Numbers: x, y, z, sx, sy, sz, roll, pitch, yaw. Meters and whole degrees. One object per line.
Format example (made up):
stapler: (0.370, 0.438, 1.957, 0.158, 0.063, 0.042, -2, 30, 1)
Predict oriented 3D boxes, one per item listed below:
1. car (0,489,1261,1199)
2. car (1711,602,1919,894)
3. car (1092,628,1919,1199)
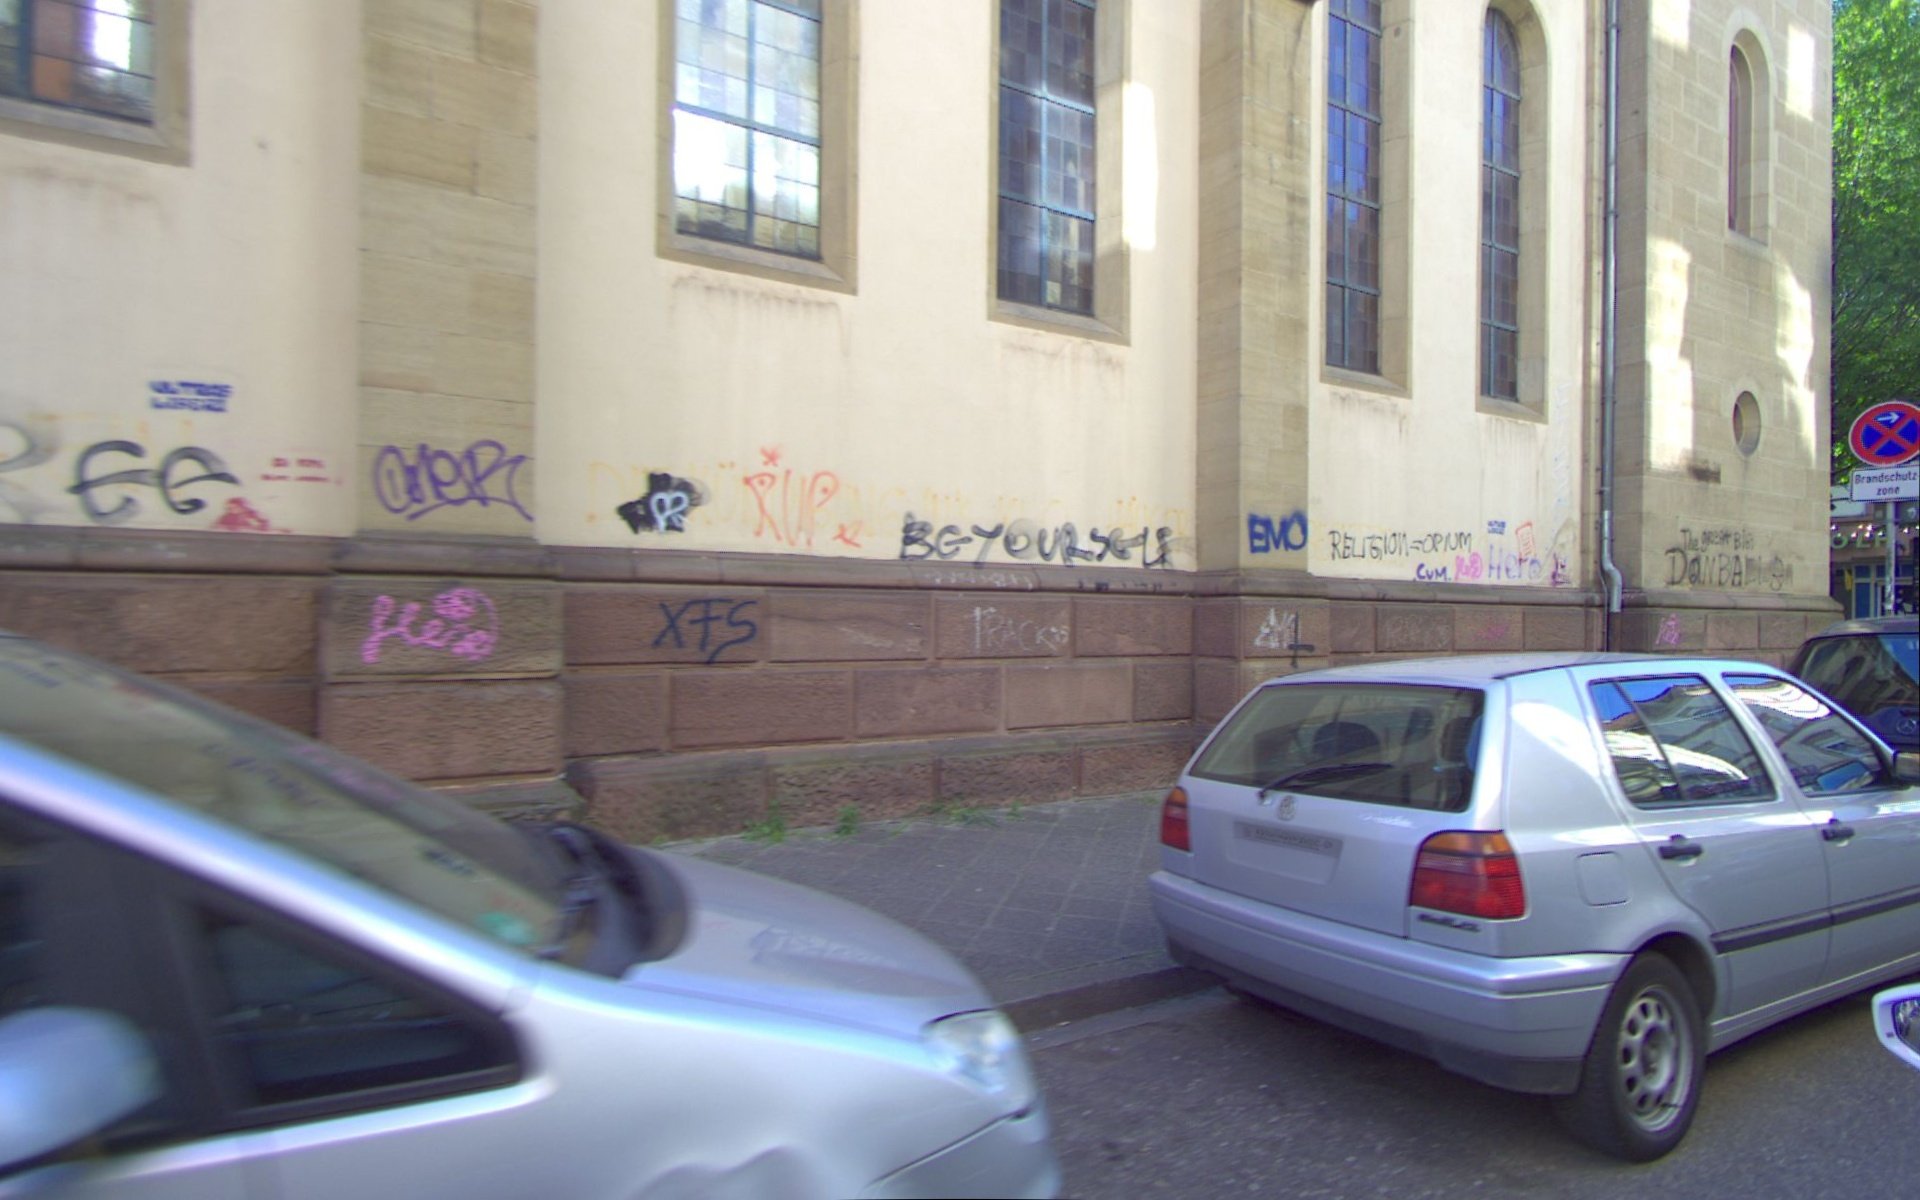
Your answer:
car: (-1.662, 0.676, 1.380, 3.952, 1.588, 1.712, 2, 0, -30)
car: (6.821, 0.863, 6.506, 3.789, 1.572, 1.785, 2, 0, -30)
car: (2.660, 0.860, 4.031, 4.096, 1.382, 1.565, 2, 0, -29)
